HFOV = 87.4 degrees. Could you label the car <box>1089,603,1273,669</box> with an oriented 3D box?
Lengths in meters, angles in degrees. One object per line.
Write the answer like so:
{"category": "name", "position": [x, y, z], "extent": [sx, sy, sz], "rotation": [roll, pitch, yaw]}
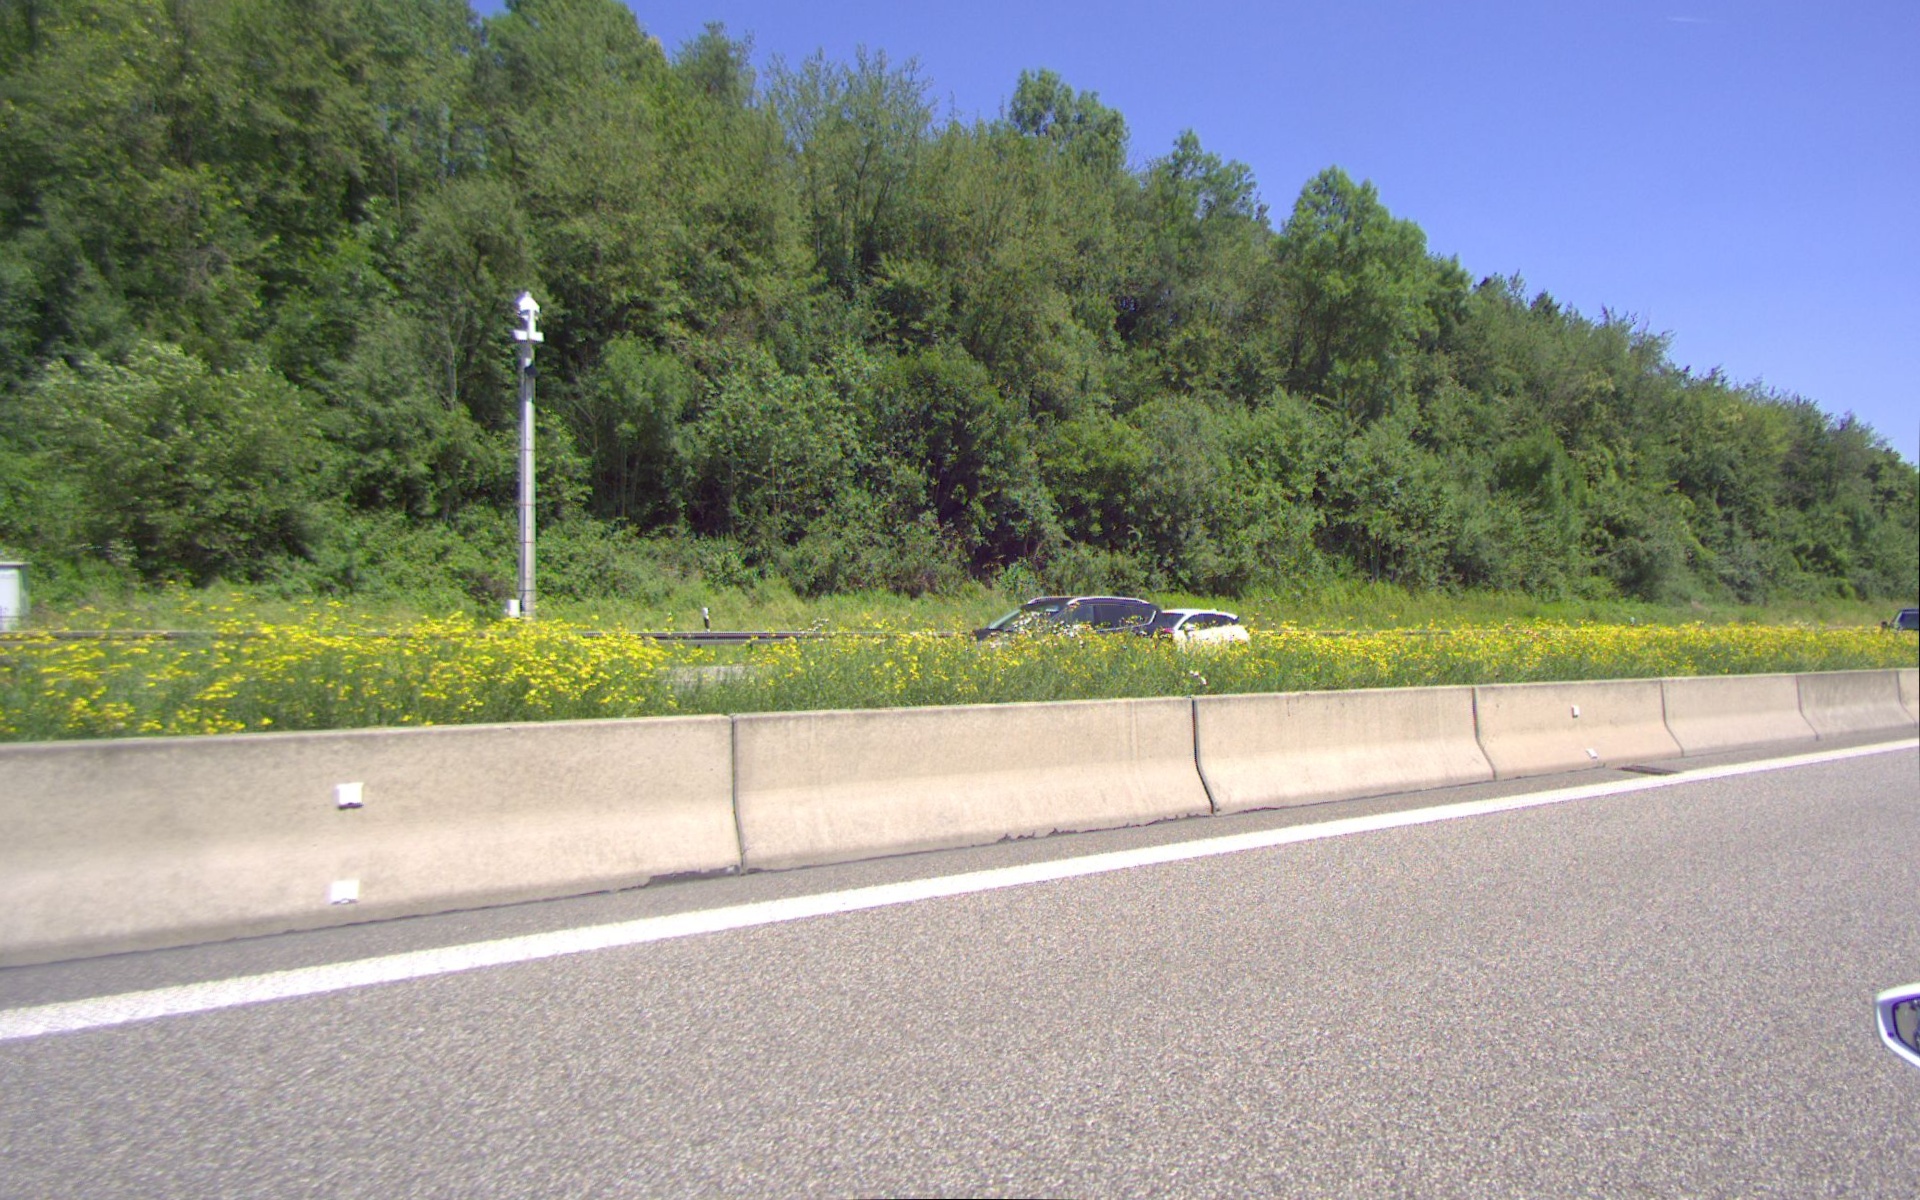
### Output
{"category": "car", "position": [5.388, 0.873, 24.349], "extent": [4.124, 1.461, 1.983], "rotation": [2, -1, -31]}

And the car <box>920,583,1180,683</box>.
{"category": "car", "position": [1.543, 0.566, 17.011], "extent": [3.953, 1.506, 1.984], "rotation": [2, -1, -30]}

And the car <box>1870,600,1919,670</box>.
{"category": "car", "position": [29.981, 1.096, 30.705], "extent": [4.369, 2.040, 1.984], "rotation": [2, -1, -31]}
